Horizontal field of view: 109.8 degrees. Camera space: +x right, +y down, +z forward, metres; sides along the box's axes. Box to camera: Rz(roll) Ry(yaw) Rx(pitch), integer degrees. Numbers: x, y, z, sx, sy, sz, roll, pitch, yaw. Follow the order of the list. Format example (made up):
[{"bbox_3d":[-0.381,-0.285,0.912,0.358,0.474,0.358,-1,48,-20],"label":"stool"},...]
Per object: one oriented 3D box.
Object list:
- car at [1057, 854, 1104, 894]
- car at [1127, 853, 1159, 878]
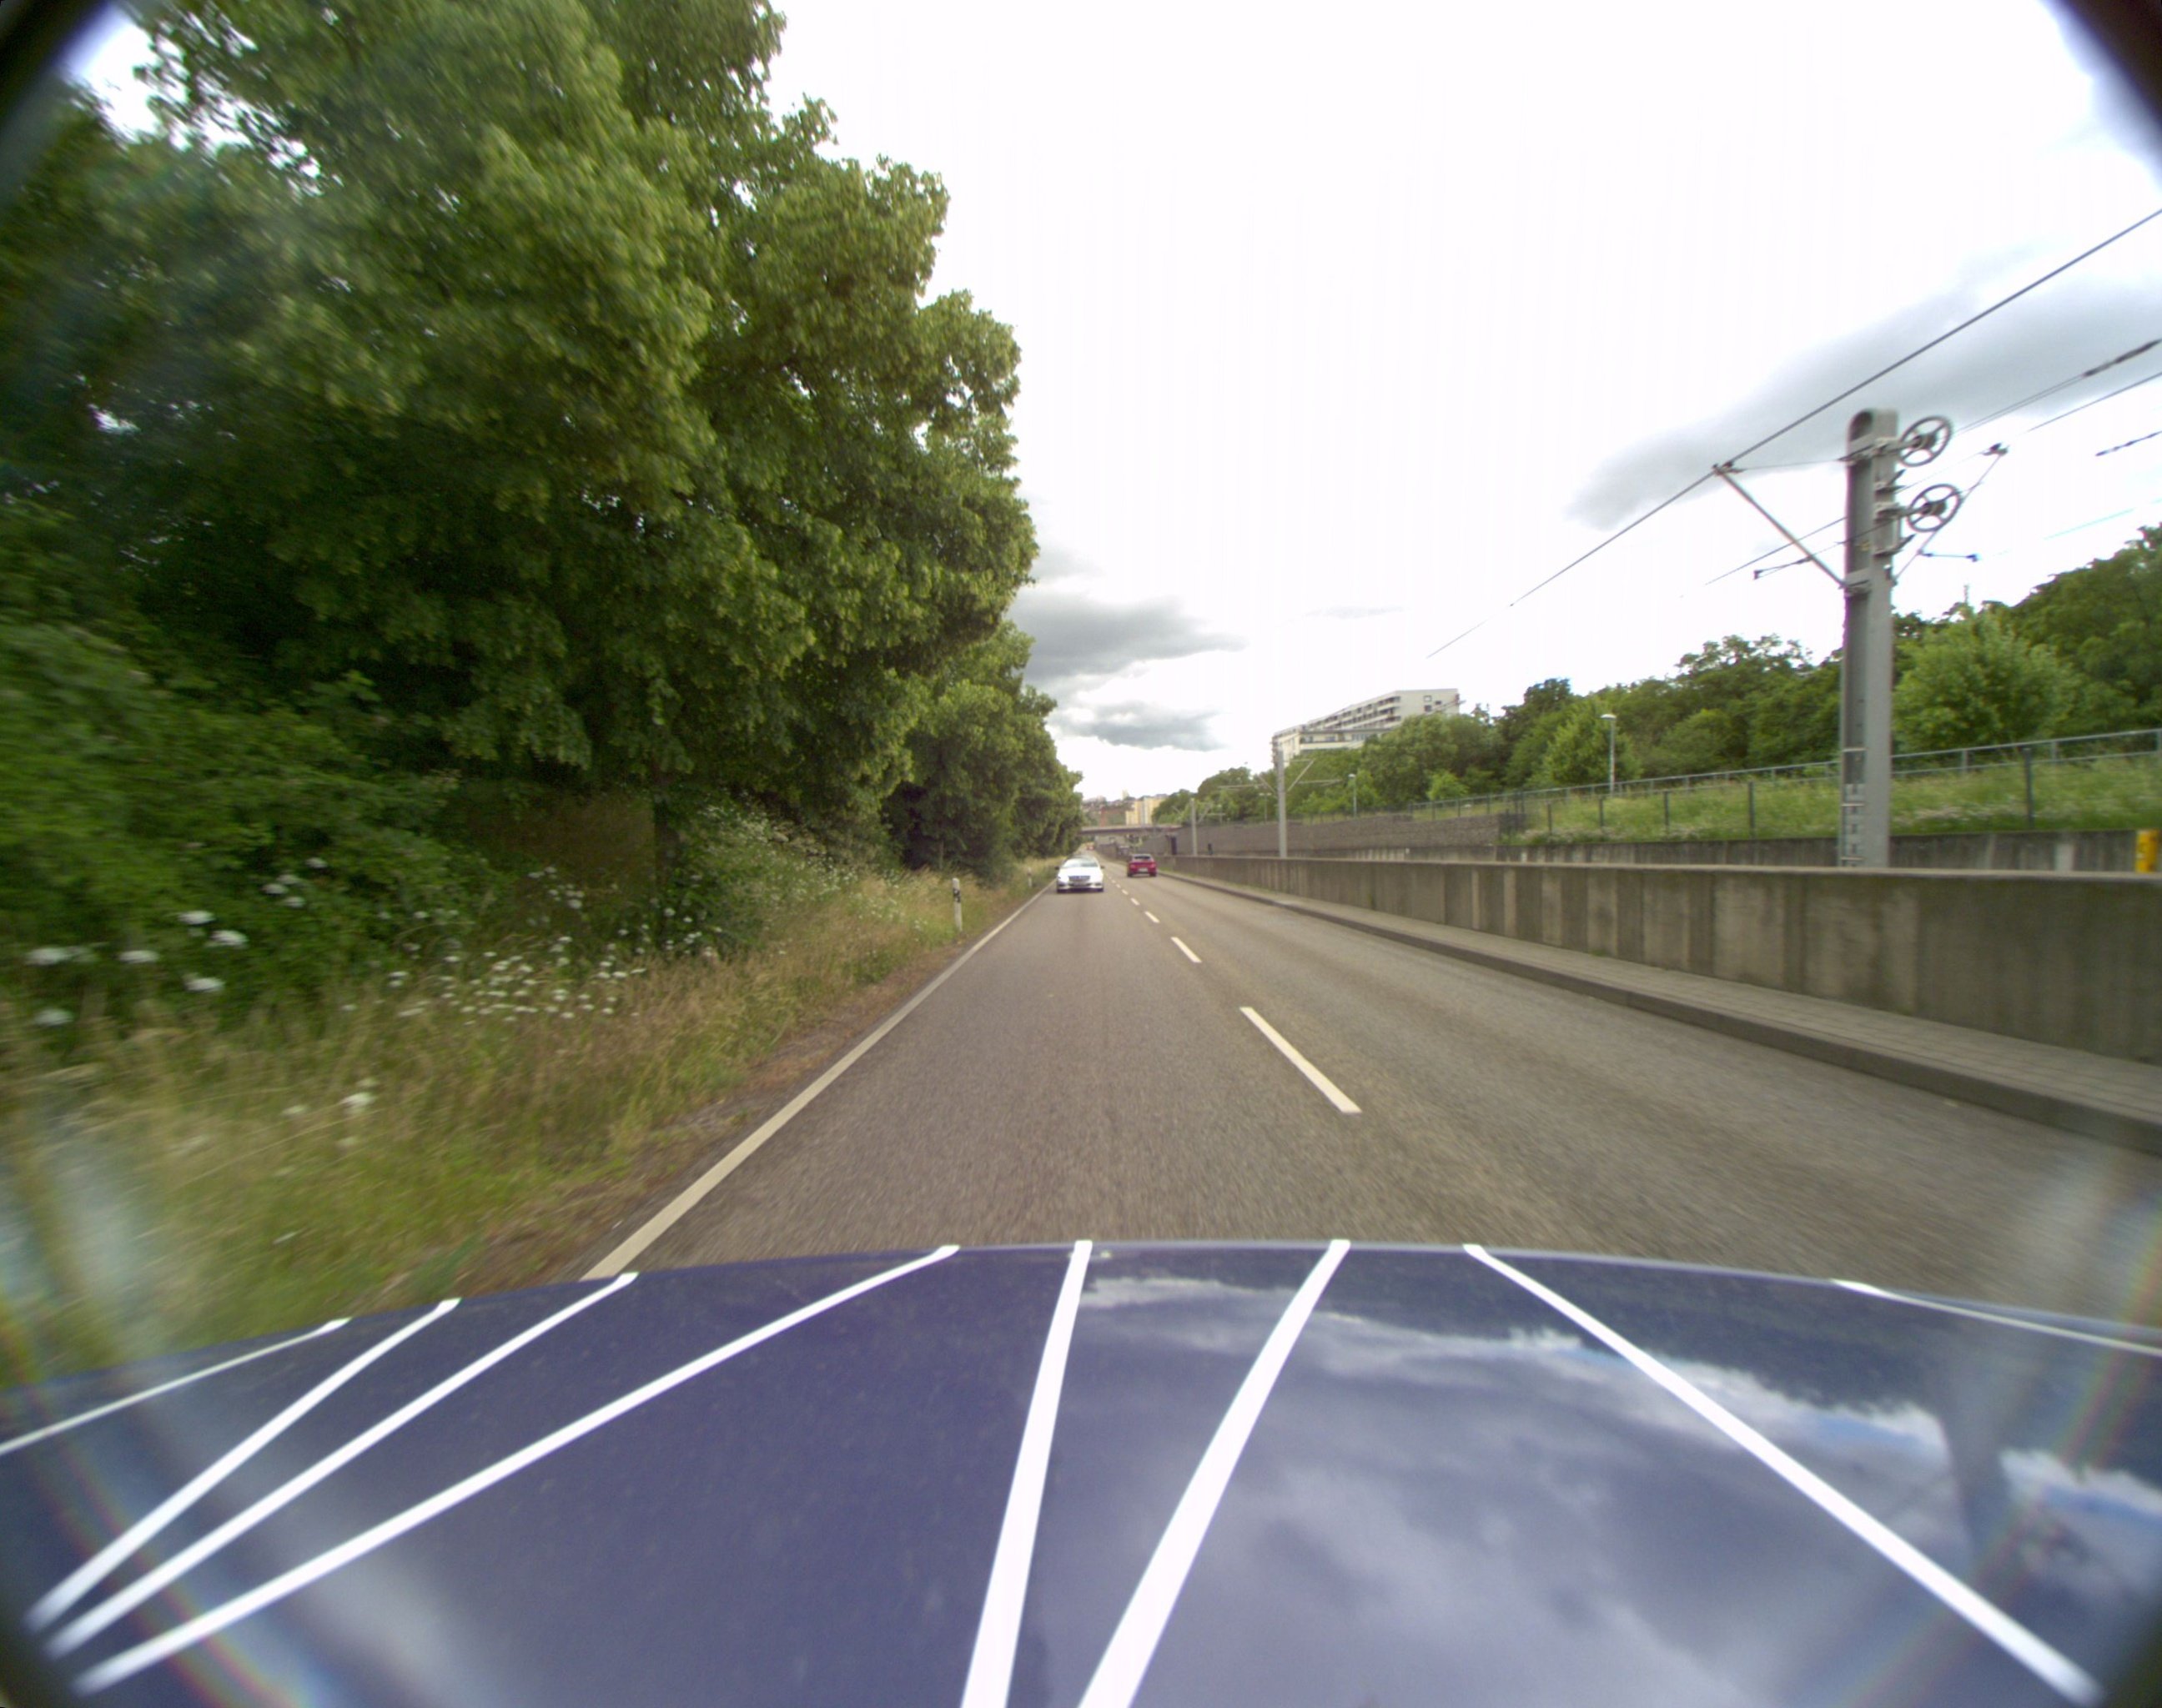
[{"bbox_3d":[-0.001,0.763,31.773,1.842,1.499,4.160,-1,1,1],"label":"car"},{"bbox_3d":[3.922,0.698,48.636,1.667,1.536,3.952,-1,0,0],"label":"car"}]
